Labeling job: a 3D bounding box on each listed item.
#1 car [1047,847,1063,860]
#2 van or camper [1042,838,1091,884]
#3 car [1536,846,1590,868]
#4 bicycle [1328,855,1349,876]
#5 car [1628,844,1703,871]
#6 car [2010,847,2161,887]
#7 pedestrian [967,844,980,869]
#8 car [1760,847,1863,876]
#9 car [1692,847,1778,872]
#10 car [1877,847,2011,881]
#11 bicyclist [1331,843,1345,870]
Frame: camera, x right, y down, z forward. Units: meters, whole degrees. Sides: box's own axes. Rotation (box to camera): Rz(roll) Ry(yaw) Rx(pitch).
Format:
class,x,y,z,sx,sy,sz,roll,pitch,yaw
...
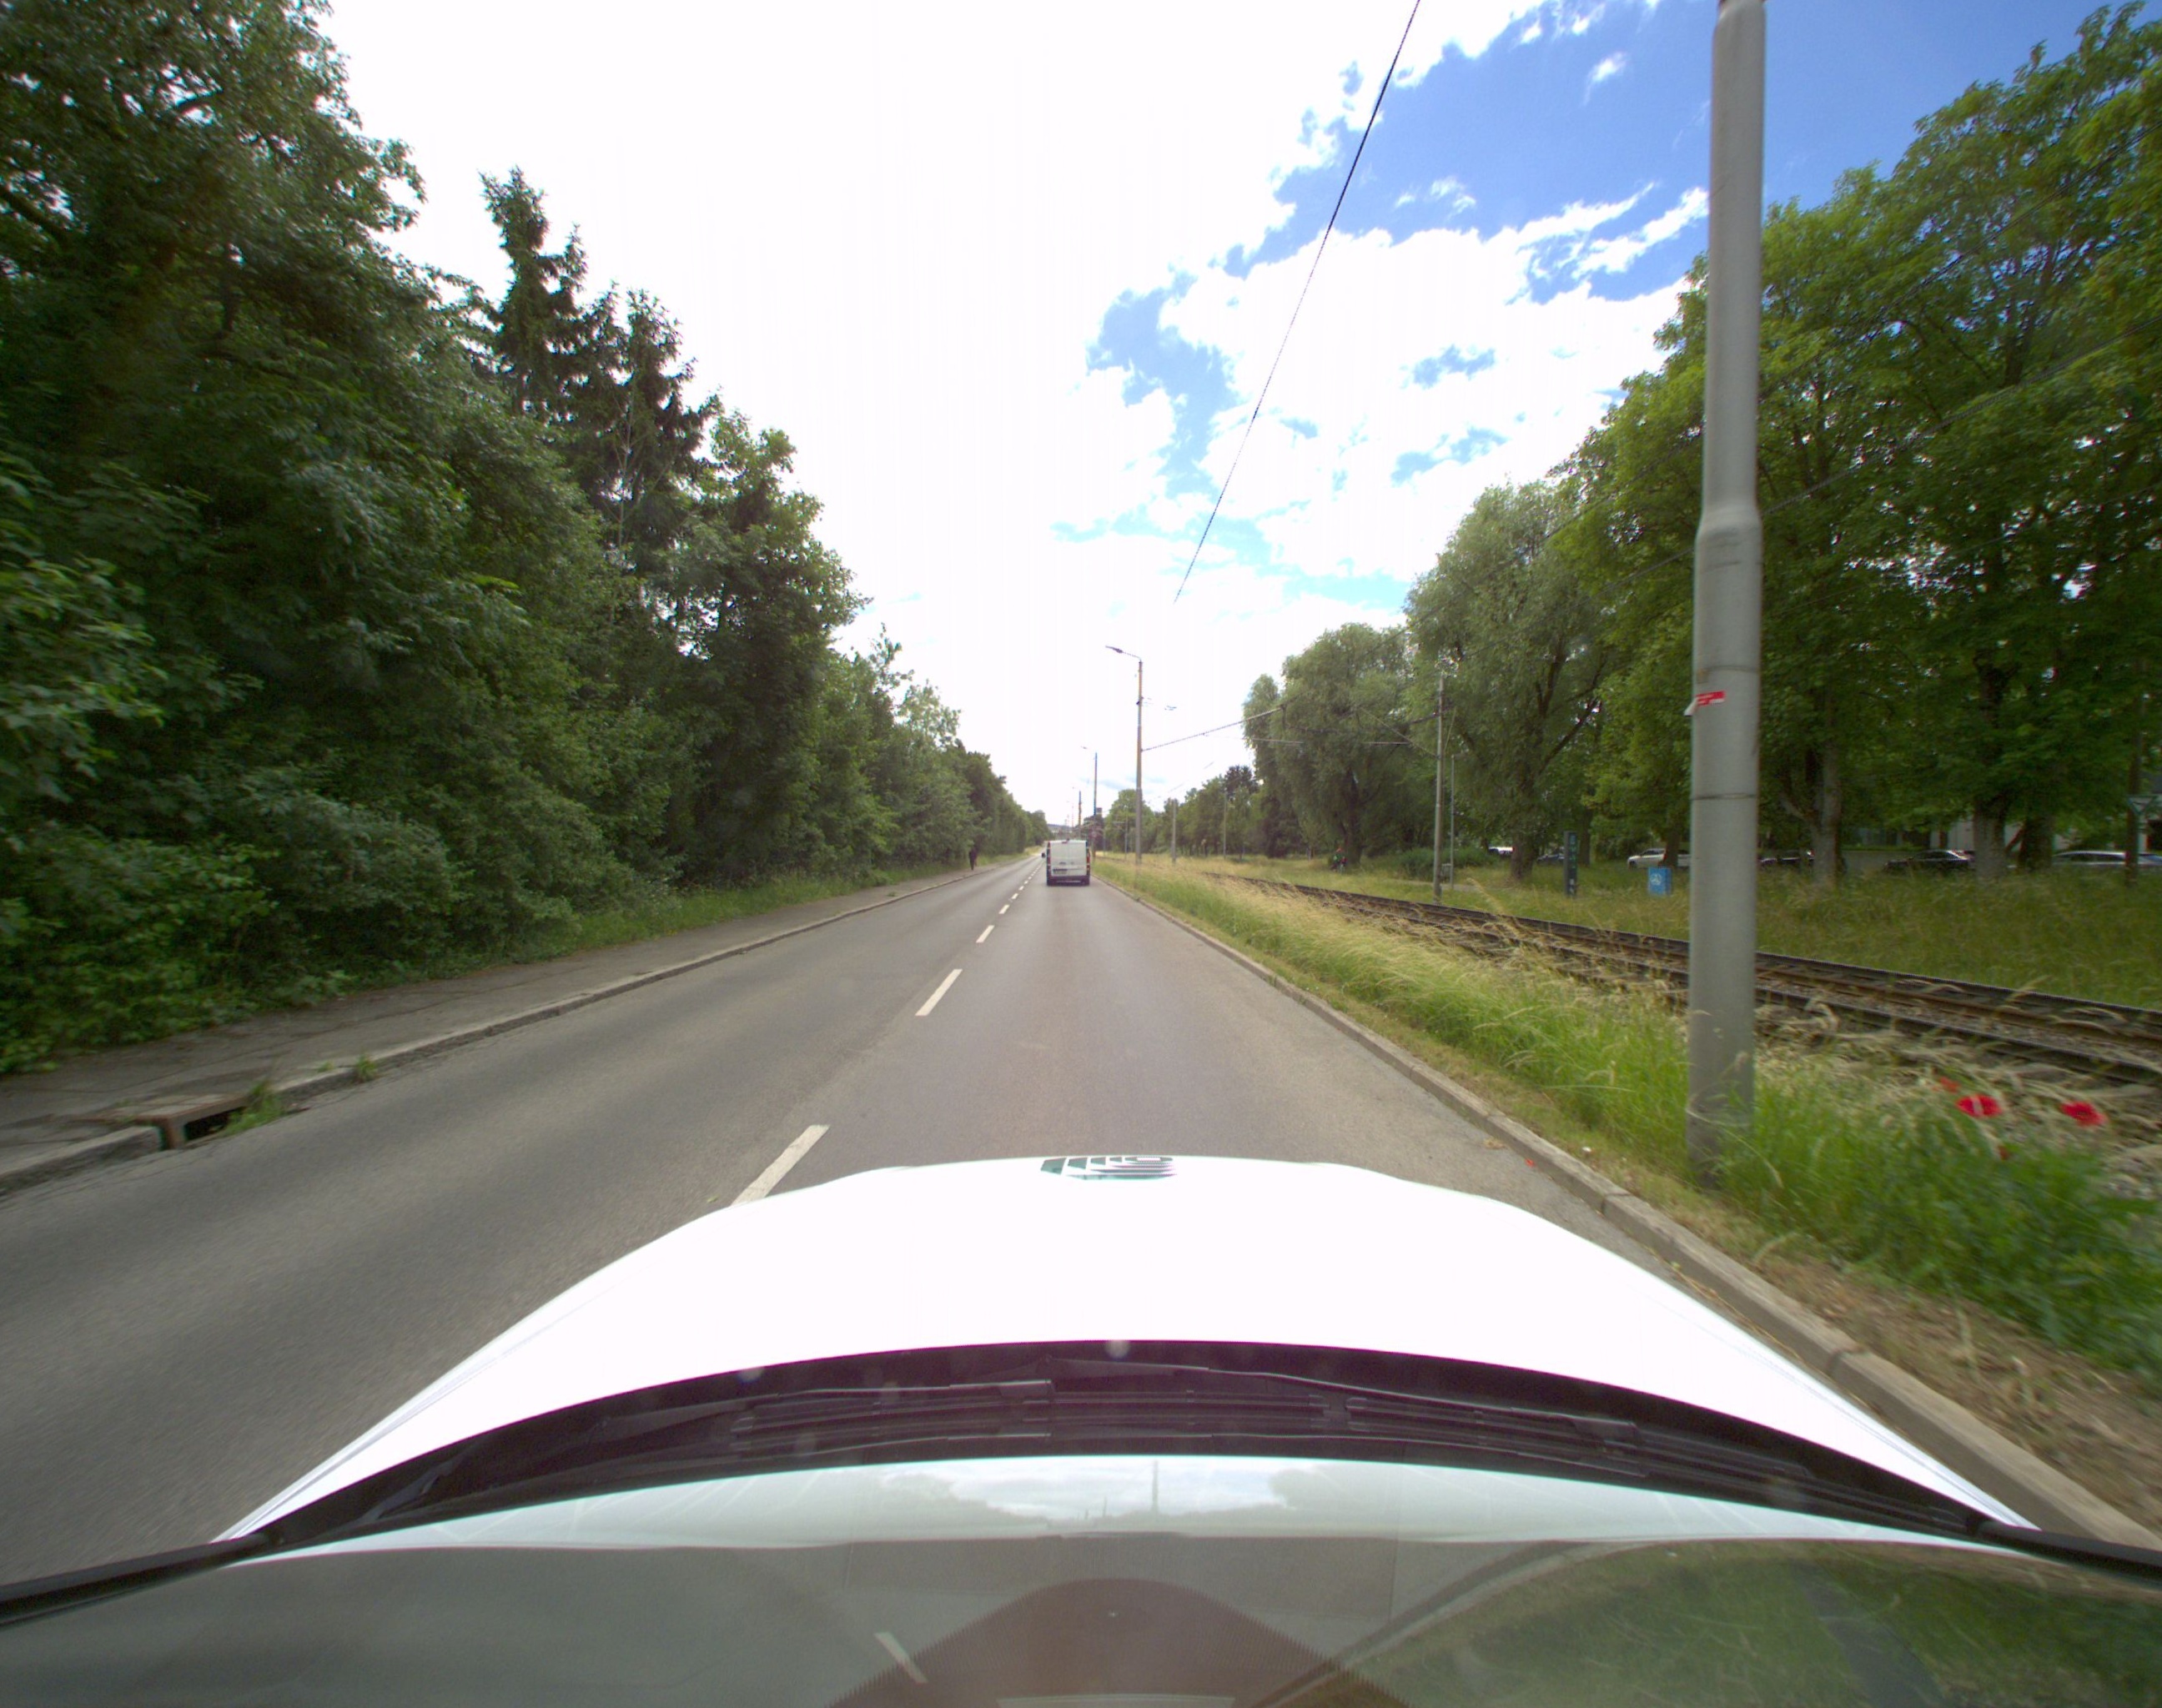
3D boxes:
class,x,y,z,sx,sy,sz,roll,pitch,yaw
car,-3.279,-0.041,102.288,1.988,1.593,3.997,2,0,-2
van or camper,-0.693,0.288,36.144,1.938,1.897,4.279,-1,0,-4
car,39.022,0.229,66.032,1.987,1.700,4.000,2,0,0
bicycle,16.610,0.732,52.596,0.580,1.246,1.926,0,0,-5
car,39.395,0.216,55.011,1.988,1.700,4.226,2,0,-2
car,40.182,0.479,32.173,1.988,1.442,4.343,1,0,-2
pedestrian,-7.801,0.189,59.115,0.867,1.769,0.788,-2,1,-6
car,39.638,0.383,44.329,1.988,1.442,3.997,1,0,-2
car,39.535,0.328,49.362,1.988,1.442,3.997,1,0,-2
car,39.945,0.436,37.839,1.988,1.442,3.997,1,0,-2
bicyclist,16.602,0.158,52.639,0.580,1.696,0.934,1,0,-6
